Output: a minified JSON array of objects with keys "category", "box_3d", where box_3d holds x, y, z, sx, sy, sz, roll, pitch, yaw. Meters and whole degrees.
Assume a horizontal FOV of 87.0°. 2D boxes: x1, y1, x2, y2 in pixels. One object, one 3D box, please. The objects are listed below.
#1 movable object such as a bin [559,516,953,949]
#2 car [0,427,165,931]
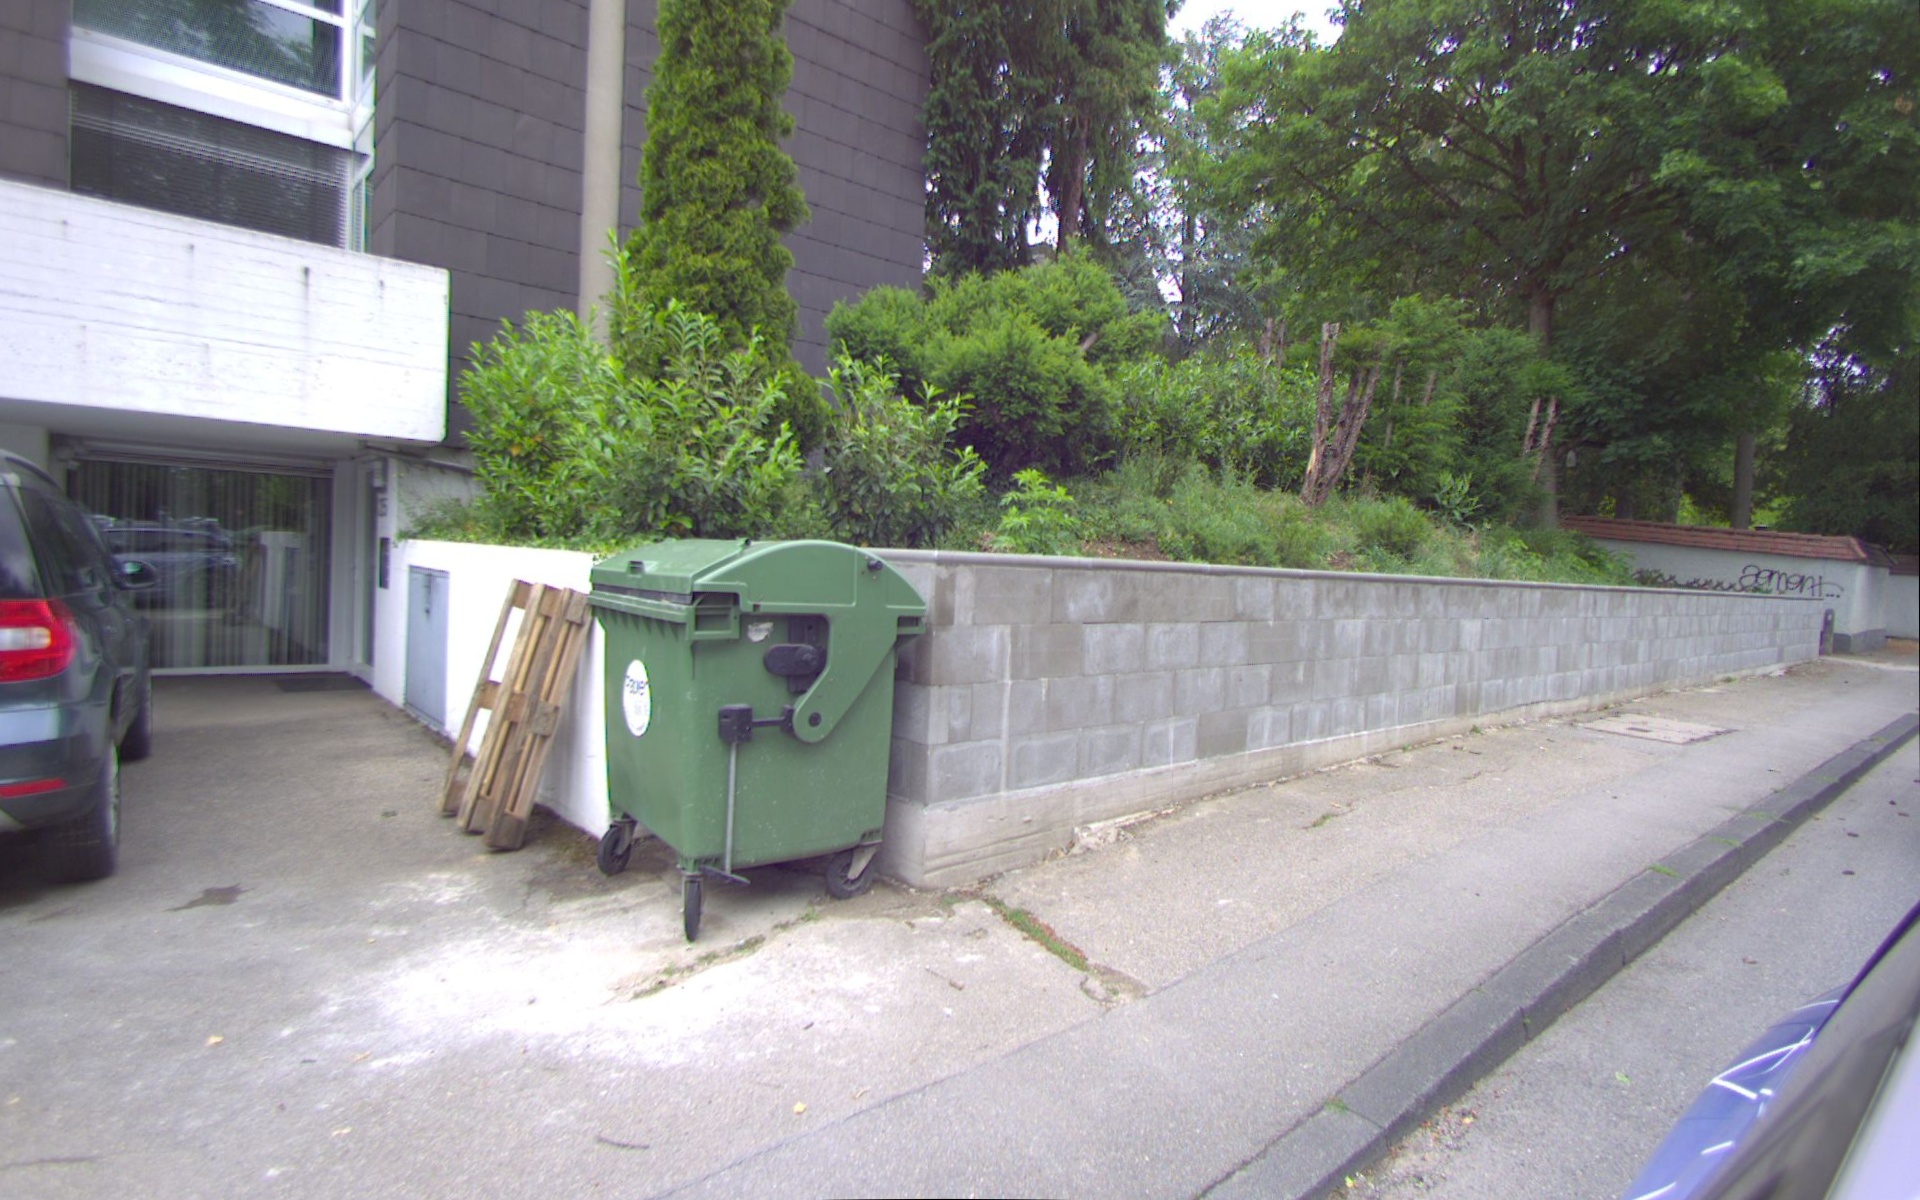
[{"category":"movable object such as a bin","box_3d":[-0.909,0.410,4.308,1.096,1.469,1.407,0,3,-40]},{"category":"car","box_3d":[-4.773,0.145,4.583,1.712,1.671,3.914,0,4,-36]}]
